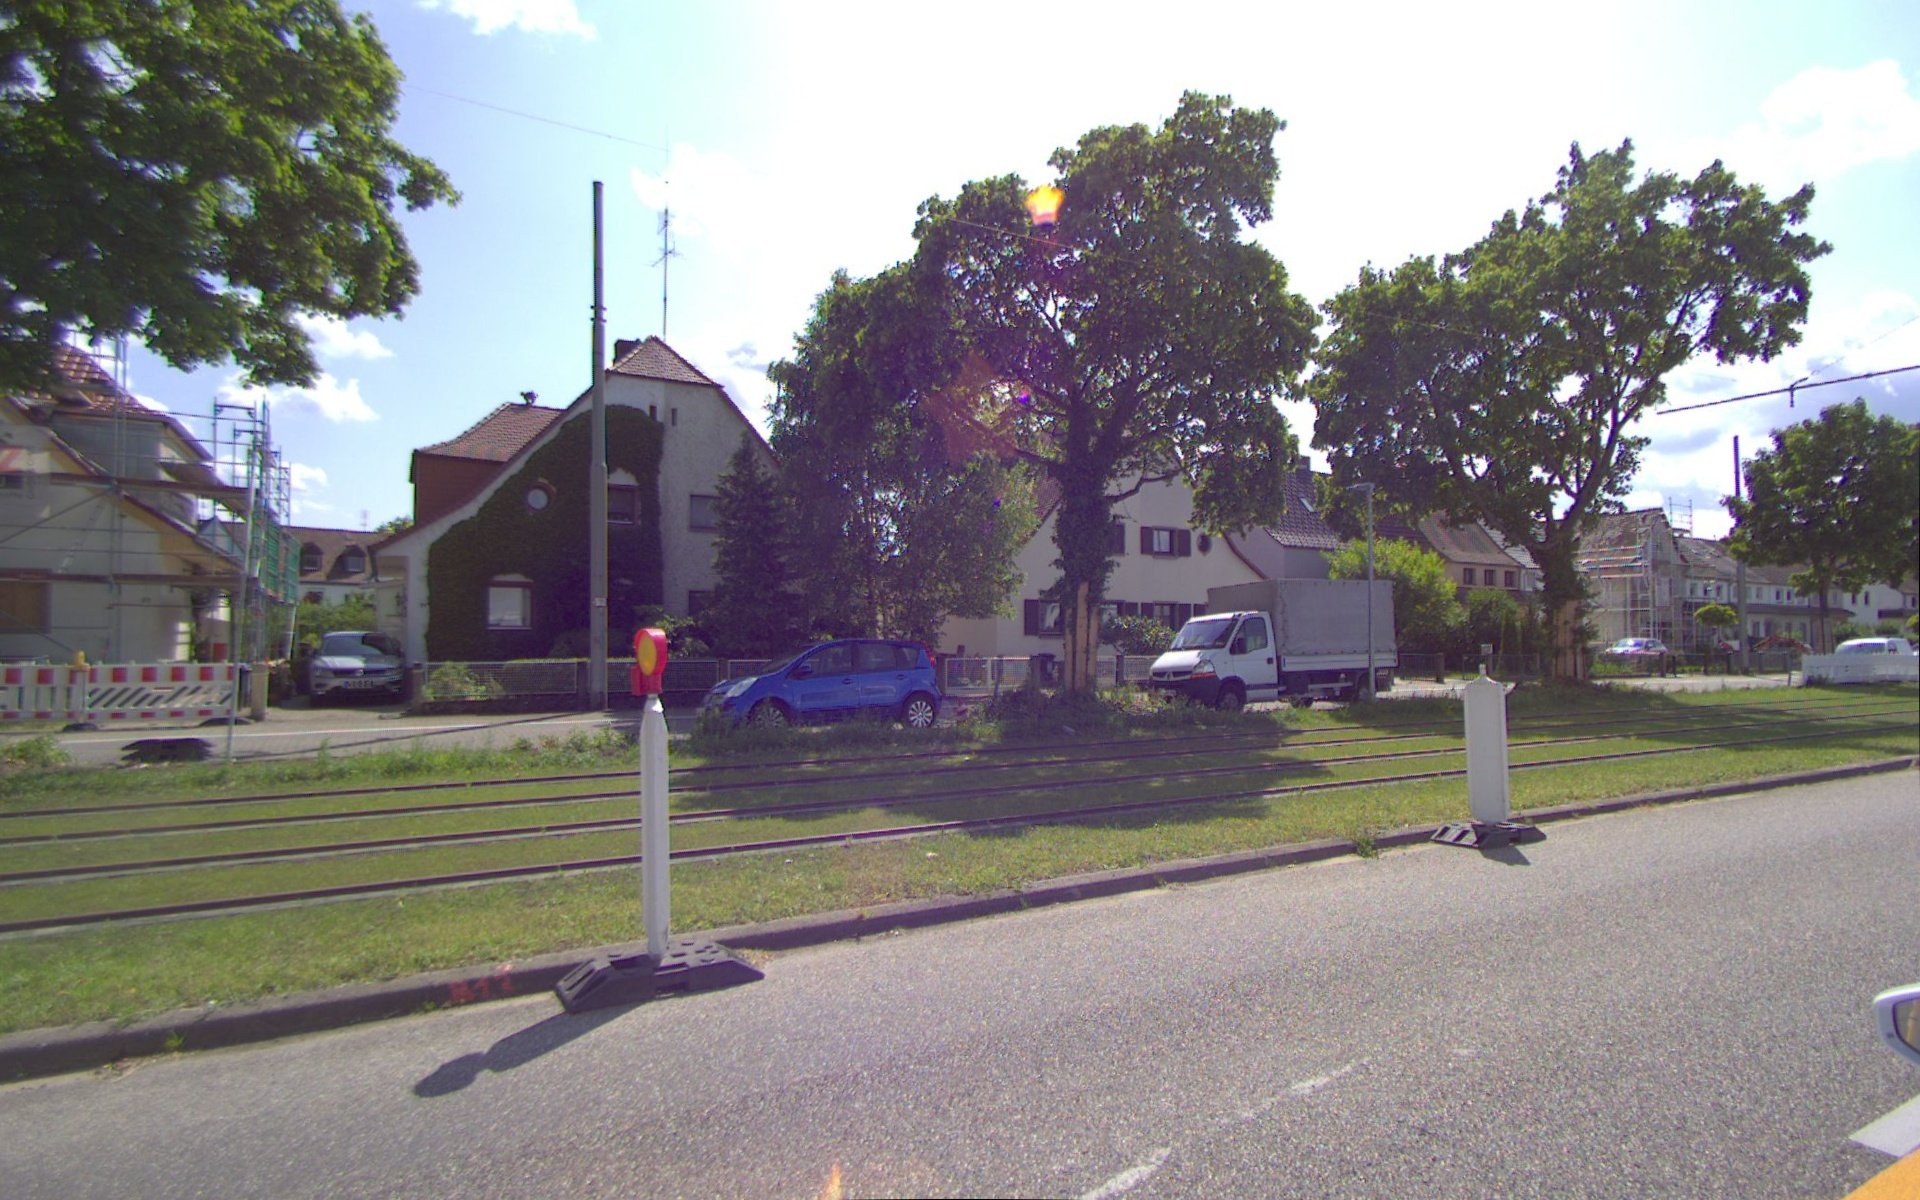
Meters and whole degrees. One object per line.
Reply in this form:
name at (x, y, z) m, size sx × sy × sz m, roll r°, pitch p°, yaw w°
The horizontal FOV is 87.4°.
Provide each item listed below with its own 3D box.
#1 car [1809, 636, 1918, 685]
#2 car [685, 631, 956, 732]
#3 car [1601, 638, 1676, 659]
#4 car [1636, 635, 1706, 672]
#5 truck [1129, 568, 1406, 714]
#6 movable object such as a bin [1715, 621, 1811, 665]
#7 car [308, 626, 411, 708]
car at (34.680, 2.319, 38.544) m, size 3.953 × 1.772 × 1.985 m, roll 2°, pitch -4°, yaw -30°
car at (-2.248, 1.298, 16.473) m, size 3.956 × 1.472 × 1.983 m, roll 2°, pitch -4°, yaw -32°
car at (35.956, 2.573, 53.224) m, size 3.932 × 1.066 × 1.678 m, roll 2°, pitch -4°, yaw -29°
car at (34.625, 2.609, 48.932) m, size 2.994 × 1.744 × 1.677 m, roll 2°, pitch -4°, yaw -30°
truck at (6.745, 0.918, 21.779) m, size 6.202 × 2.803 × 1.985 m, roll 1°, pitch -5°, yaw -30°
movable object such as a bin at (46.695, 2.513, 58.495) m, size 4.284 × 2.481 × 1.781 m, roll -2°, pitch -3°, yaw 39°
car at (-13.805, 1.528, 23.230) m, size 1.851 × 1.706 × 3.631 m, roll 2°, pitch -4°, yaw -30°
